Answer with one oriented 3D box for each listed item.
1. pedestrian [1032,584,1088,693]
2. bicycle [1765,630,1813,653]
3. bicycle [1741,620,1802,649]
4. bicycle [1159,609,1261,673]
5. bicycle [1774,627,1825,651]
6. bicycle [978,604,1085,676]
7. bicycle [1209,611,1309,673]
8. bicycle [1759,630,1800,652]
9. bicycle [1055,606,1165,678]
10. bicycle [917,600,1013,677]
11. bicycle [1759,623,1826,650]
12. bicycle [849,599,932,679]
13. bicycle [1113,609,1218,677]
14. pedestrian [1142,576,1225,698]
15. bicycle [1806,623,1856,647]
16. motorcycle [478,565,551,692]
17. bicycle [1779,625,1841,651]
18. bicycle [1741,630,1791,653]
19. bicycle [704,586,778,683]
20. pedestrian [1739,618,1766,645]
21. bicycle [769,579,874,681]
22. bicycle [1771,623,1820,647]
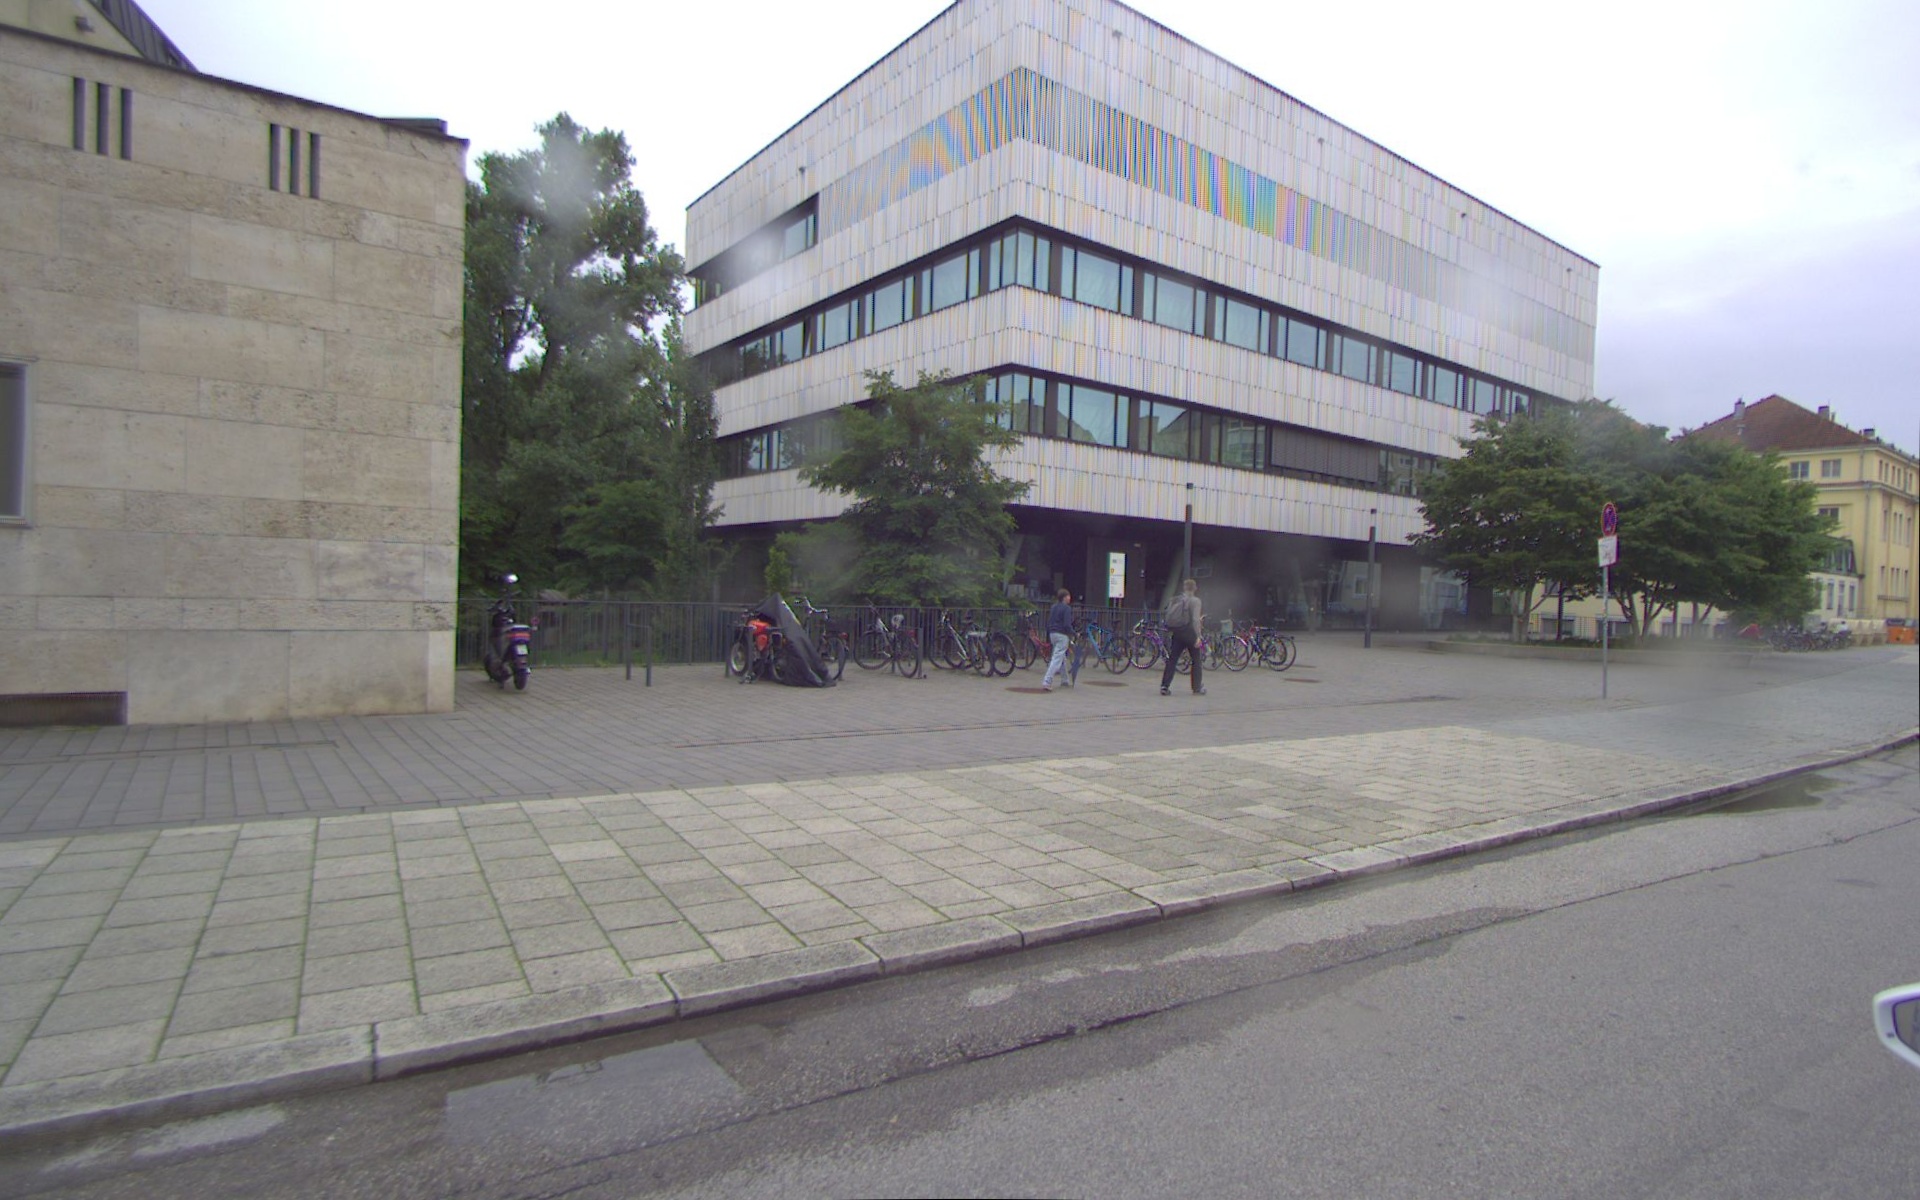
[{"bbox_3d":[1.560,0.573,15.639,0.633,1.623,0.605,4,3,27],"label":"pedestrian"},{"bbox_3d":[40.492,2.023,49.074,0.589,0.929,1.664,1,3,-33],"label":"bicycle"},{"bbox_3d":[38.957,1.642,48.238,0.778,1.244,2.092,1,3,-33],"label":"bicycle"},{"bbox_3d":[5.144,0.818,20.782,0.612,1.126,2.028,0,4,-40],"label":"bicycle"},{"bbox_3d":[42.687,1.962,51.104,0.534,1.043,1.855,1,3,-33],"label":"bicycle"},{"bbox_3d":[1.288,0.699,18.499,0.612,1.126,2.025,0,4,-44],"label":"bicycle"},{"bbox_3d":[6.378,0.867,21.526,0.612,1.126,2.028,0,4,-40],"label":"bicycle"},{"bbox_3d":[38.136,1.886,46.733,0.435,0.874,1.362,0,4,-37],"label":"bicycle"},{"bbox_3d":[2.760,0.744,18.674,0.612,1.126,2.025,0,4,-44],"label":"bicycle"},{"bbox_3d":[0.048,0.631,17.440,0.610,1.126,2.033,0,3,-33],"label":"bicycle"},{"bbox_3d":[42.068,1.814,50.790,0.420,1.222,2.538,0,2,-33],"label":"bicycle"},{"bbox_3d":[-1.194,0.615,16.758,0.609,1.126,2.038,1,3,-27],"label":"bicycle"},{"bbox_3d":[4.003,0.810,19.708,0.612,1.126,2.028,0,4,-40],"label":"bicycle"},{"bbox_3d":[3.496,0.563,15.680,0.777,1.806,1.009,5,2,41],"label":"pedestrian"},{"bbox_3d":[47.231,1.879,54.504,0.670,1.107,1.893,1,3,-33],"label":"bicycle"},{"bbox_3d":[-5.526,0.312,12.415,0.510,1.424,1.553,0,3,-35],"label":"motorcycle"},{"bbox_3d":[43.799,1.950,51.780,0.575,1.150,2.296,1,3,-33],"label":"bicycle"},{"bbox_3d":[37.150,1.895,46.307,0.435,0.874,1.706,0,4,-36],"label":"bicycle"},{"bbox_3d":[-3.191,0.471,14.562,0.458,1.277,1.439,0,4,-38],"label":"bicycle"},{"bbox_3d":[37.323,1.468,47.311,1.031,1.178,0.712,0,4,-39],"label":"pedestrian"},{"bbox_3d":[-2.167,0.422,15.430,0.608,1.370,2.081,0,4,-38],"label":"bicycle"},{"bbox_3d":[41.702,1.723,50.154,0.502,1.047,1.780,1,3,-33],"label":"bicycle"}]
